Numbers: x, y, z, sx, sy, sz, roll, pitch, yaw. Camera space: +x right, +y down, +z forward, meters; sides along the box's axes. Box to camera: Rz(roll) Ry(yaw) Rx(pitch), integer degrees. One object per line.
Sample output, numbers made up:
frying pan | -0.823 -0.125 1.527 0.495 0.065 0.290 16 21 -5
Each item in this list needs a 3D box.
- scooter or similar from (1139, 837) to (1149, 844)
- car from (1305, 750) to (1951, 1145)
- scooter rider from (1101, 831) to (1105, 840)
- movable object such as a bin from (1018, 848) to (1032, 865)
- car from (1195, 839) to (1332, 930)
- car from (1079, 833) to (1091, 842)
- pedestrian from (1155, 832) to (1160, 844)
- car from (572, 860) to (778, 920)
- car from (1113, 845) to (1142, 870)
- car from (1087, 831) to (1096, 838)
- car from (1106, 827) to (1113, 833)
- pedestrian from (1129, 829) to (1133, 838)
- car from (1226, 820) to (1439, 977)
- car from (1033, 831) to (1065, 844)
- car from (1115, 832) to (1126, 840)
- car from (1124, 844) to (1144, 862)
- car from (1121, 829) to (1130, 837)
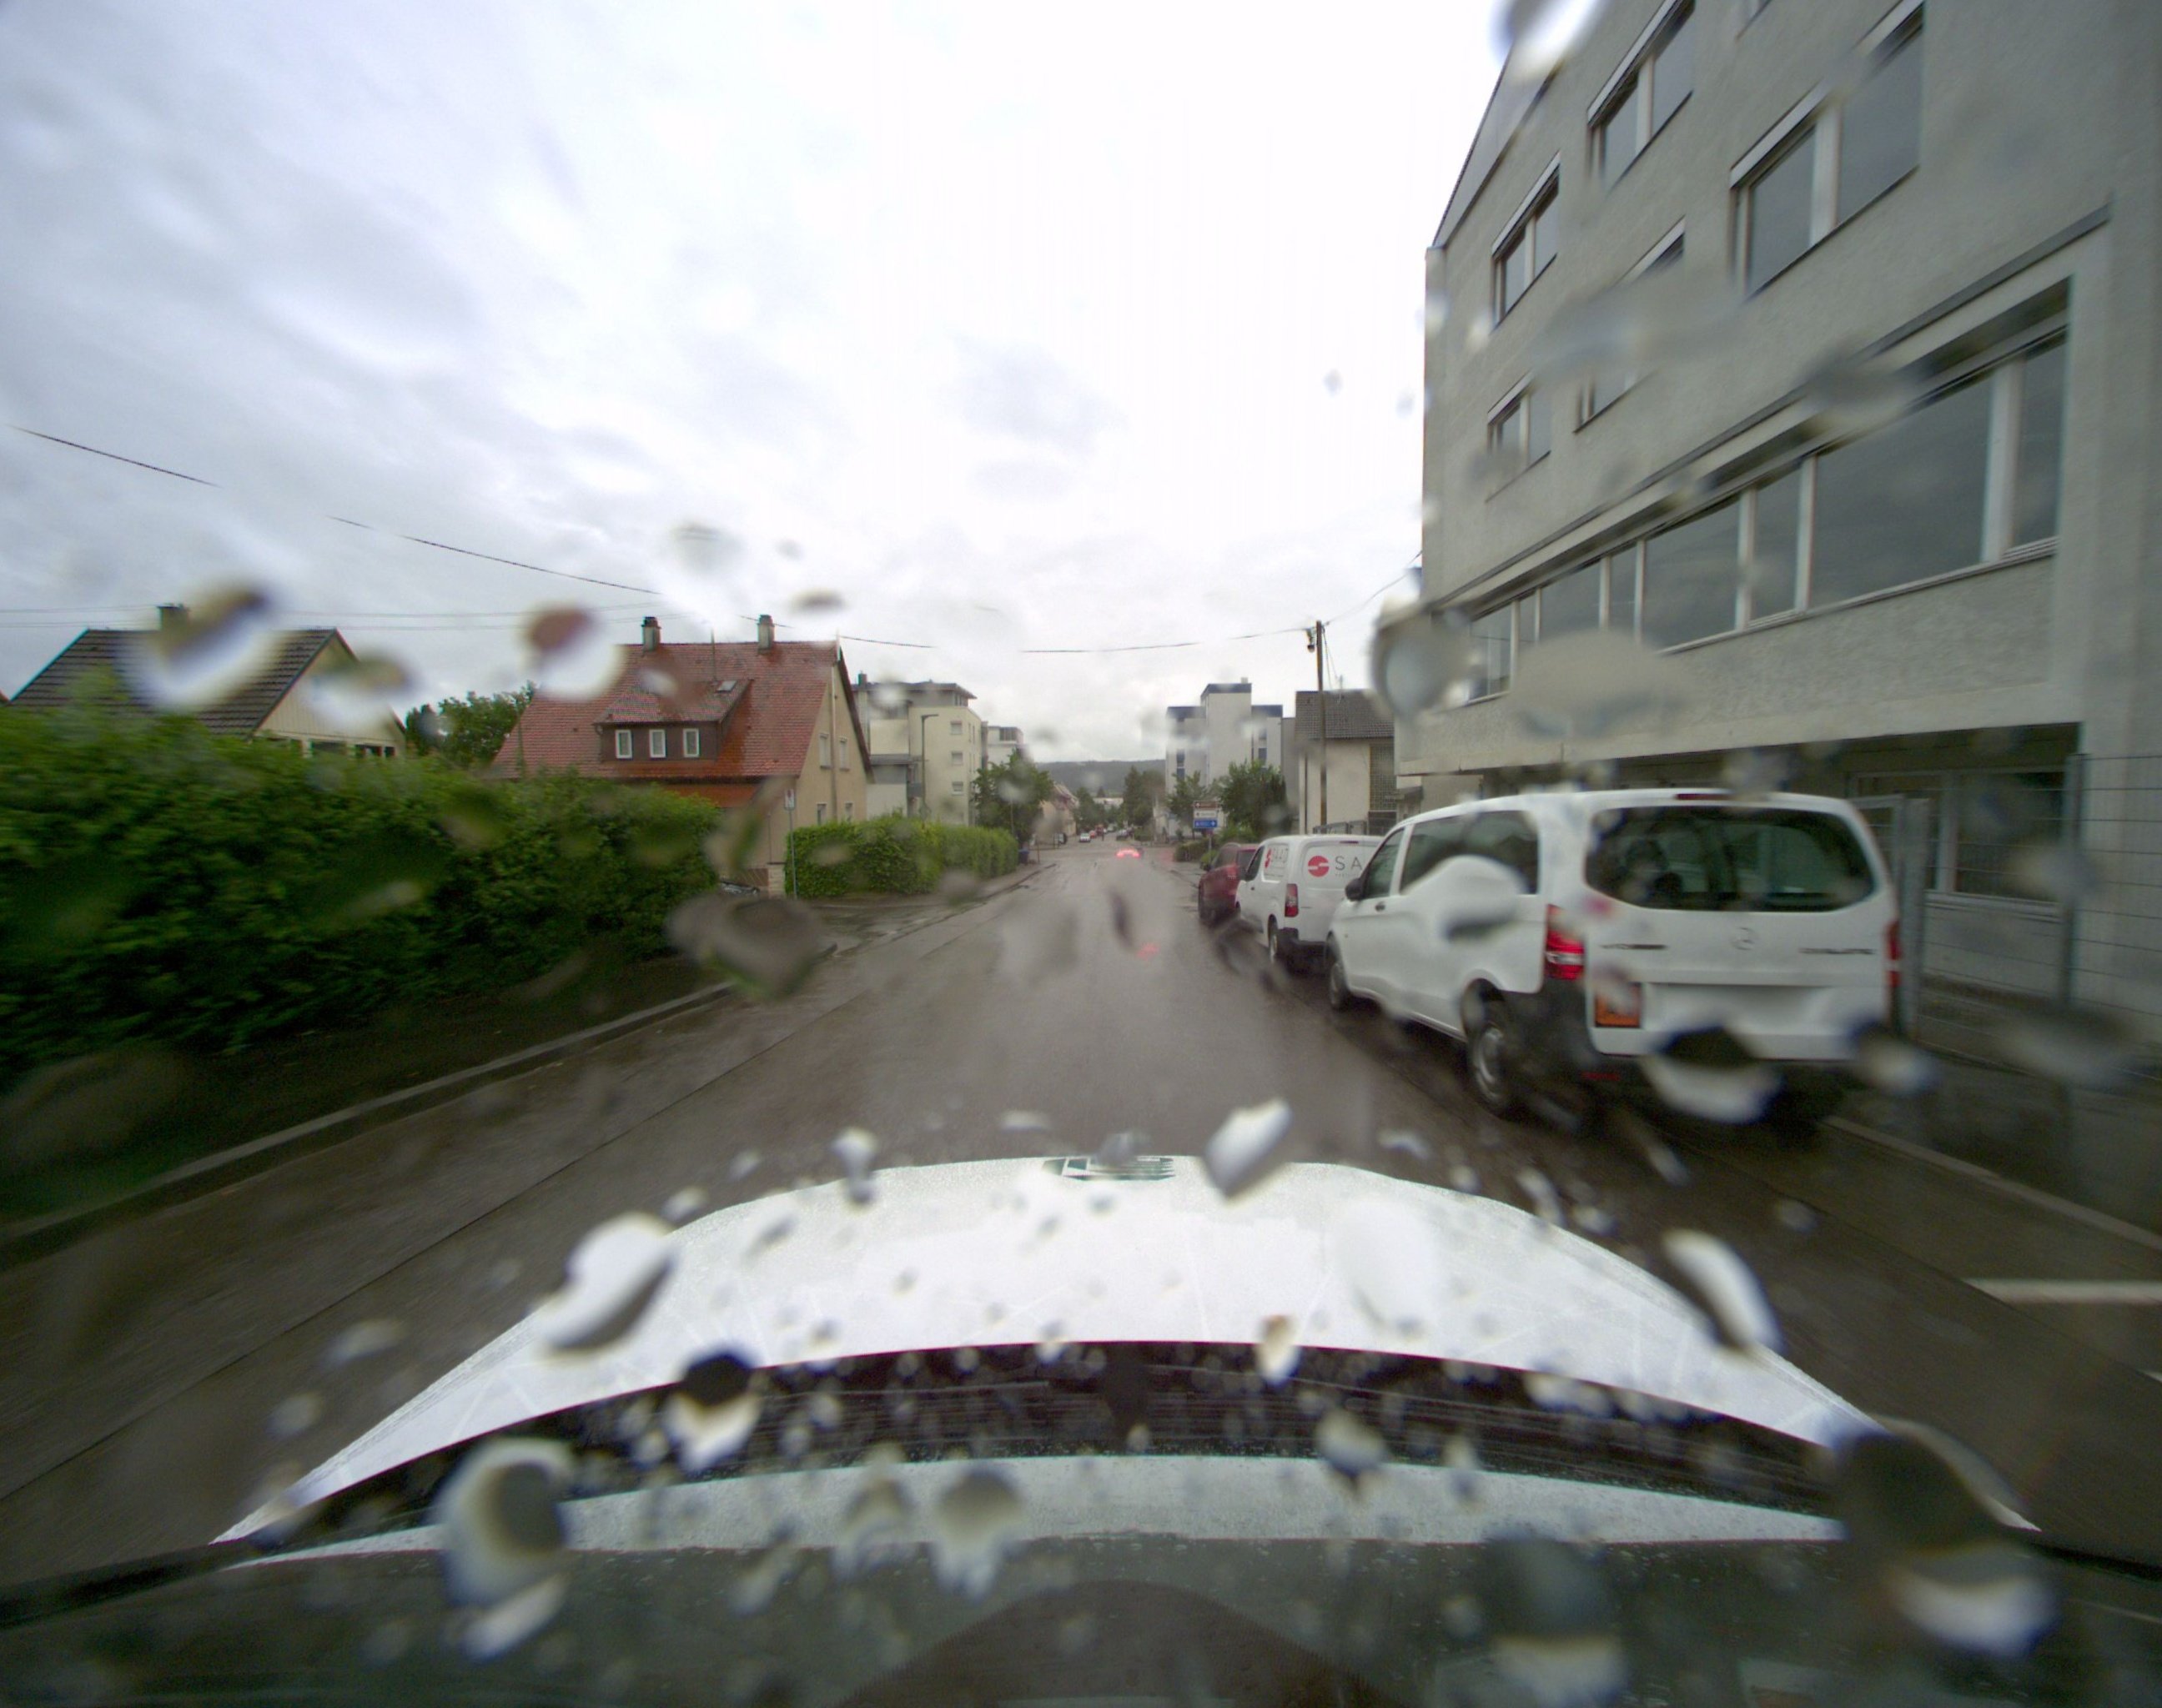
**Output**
scooter or similar | 9.218 -1.975 119.322 1.265 1.081 0.876 -2 2 -3
car | 3.389 0.447 6.529 1.986 1.935 4.979 -1 0 2
scooter rider | 4.317 -3.693 161.168 0.752 1.795 0.671 -2 2 -9
movable object such as a bin | -4.731 0.197 68.645 1.068 1.347 1.319 1 1 0
car | 3.691 0.530 17.401 1.986 1.644 4.961 -1 0 2
car | 0.813 -3.023 148.875 1.985 1.625 4.195 -2 2 3
pedestrian | 11.274 -2.364 120.590 0.646 1.647 0.525 2 1 -5
car | -10.871 0.934 22.043 4.564 1.398 1.895 -1 1 1
car | 3.591 0.232 63.820 1.987 1.683 4.000 -2 2 0
car | 2.430 -4.420 185.311 1.894 1.558 4.195 -2 2 3
car | 8.215 -6.963 235.420 1.894 1.558 4.195 -2 2 3
pedestrian | 10.440 -4.323 169.555 0.741 1.848 0.527 -1 0 7
car | 3.371 0.506 11.867 1.871 1.833 4.491 -1 0 2
car | -5.051 -2.634 128.613 4.866 1.835 1.978 -3 2 -36
car | 7.958 -3.579 162.393 2.137 1.589 4.131 -2 2 3
car | 5.795 -0.139 89.401 1.987 1.683 4.000 -2 2 0
car | 10.000 -4.838 184.237 1.894 1.745 4.195 -2 2 3
